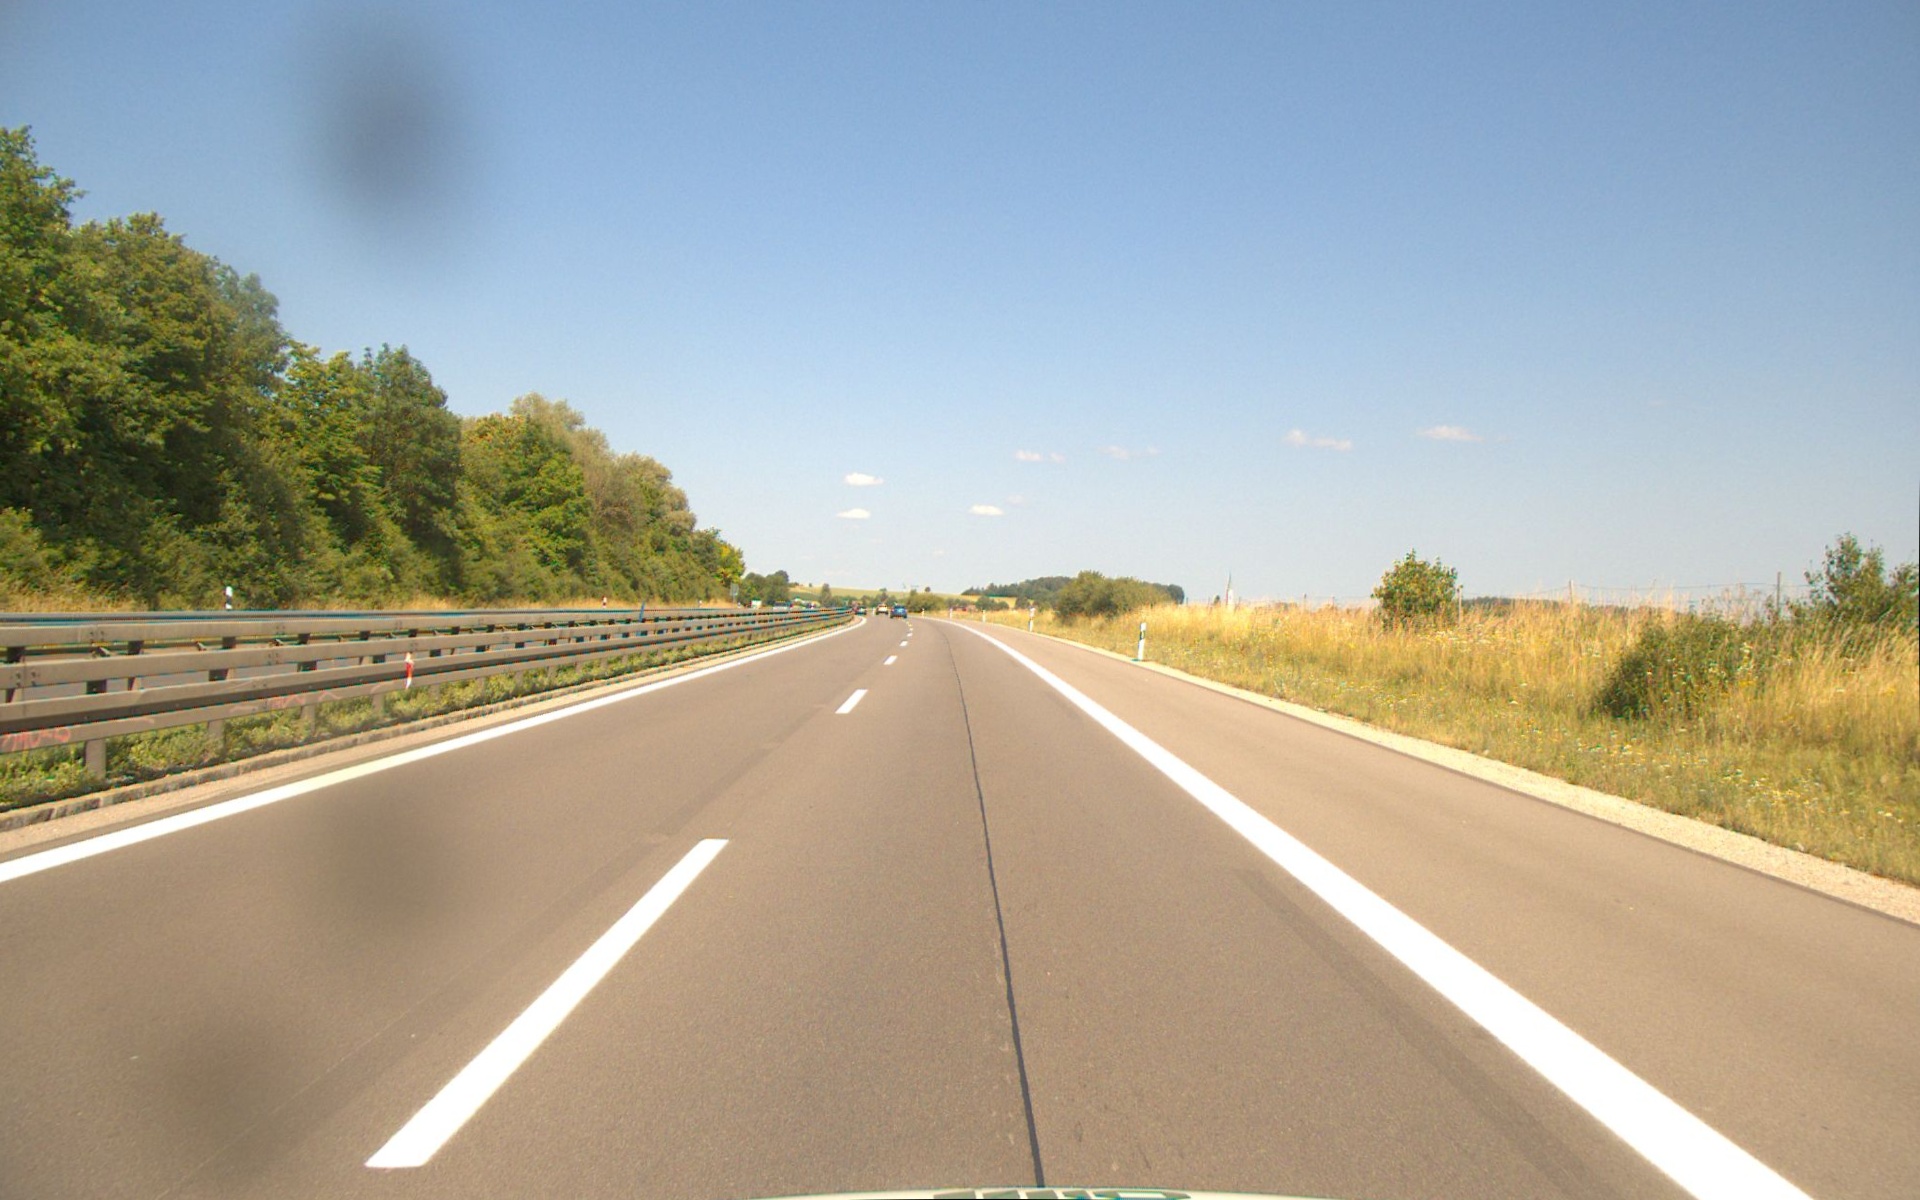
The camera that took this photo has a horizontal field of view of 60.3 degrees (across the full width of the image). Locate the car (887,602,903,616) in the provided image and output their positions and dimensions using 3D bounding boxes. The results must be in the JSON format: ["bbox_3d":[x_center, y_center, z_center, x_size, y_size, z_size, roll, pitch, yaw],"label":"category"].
[{"bbox_3d":[-7.150,0.961,181.367,1.642,1.479,3.591,1,-1,-1],"label":"car"}]

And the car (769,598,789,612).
[{"bbox_3d":[-21.476,0.621,196.402,1.953,1.640,4.635,1,0,-1],"label":"car"}]

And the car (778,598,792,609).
[{"bbox_3d":[-24.310,0.446,230.192,1.616,1.519,4.537,1,0,-3],"label":"car"}]

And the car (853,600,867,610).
[{"bbox_3d":[-15.274,0.701,253.016,1.791,1.479,3.592,1,-1,1],"label":"car"}]

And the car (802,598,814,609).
[{"bbox_3d":[-22.754,0.529,247.436,1.616,1.519,4.537,1,0,-3],"label":"car"}]
